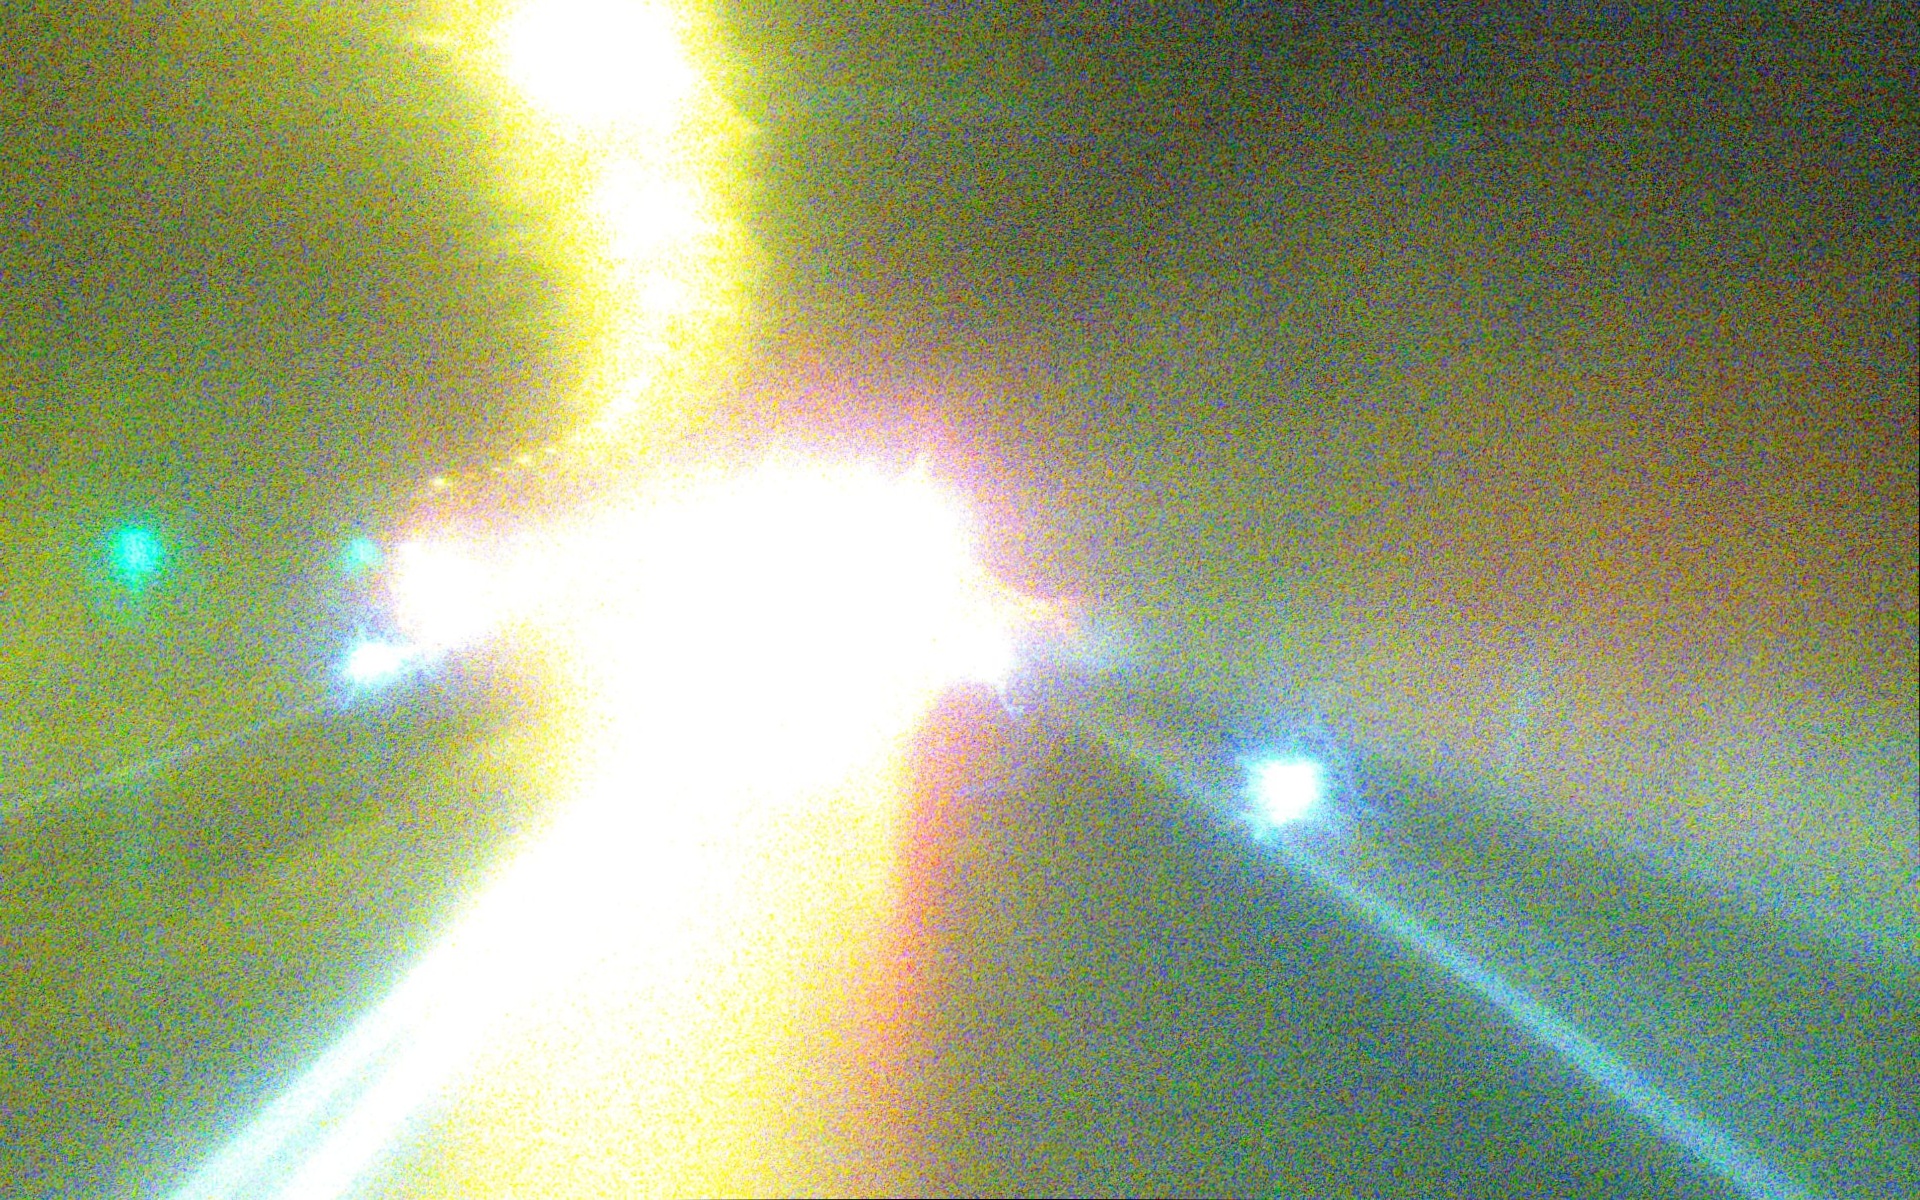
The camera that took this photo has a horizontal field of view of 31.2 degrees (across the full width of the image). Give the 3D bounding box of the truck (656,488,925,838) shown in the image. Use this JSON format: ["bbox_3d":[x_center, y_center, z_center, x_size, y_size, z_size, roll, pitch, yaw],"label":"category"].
[{"bbox_3d":[-1.621,0.508,33.930,2.262,3.000,7.416,2,1,-2],"label":"truck"}]
